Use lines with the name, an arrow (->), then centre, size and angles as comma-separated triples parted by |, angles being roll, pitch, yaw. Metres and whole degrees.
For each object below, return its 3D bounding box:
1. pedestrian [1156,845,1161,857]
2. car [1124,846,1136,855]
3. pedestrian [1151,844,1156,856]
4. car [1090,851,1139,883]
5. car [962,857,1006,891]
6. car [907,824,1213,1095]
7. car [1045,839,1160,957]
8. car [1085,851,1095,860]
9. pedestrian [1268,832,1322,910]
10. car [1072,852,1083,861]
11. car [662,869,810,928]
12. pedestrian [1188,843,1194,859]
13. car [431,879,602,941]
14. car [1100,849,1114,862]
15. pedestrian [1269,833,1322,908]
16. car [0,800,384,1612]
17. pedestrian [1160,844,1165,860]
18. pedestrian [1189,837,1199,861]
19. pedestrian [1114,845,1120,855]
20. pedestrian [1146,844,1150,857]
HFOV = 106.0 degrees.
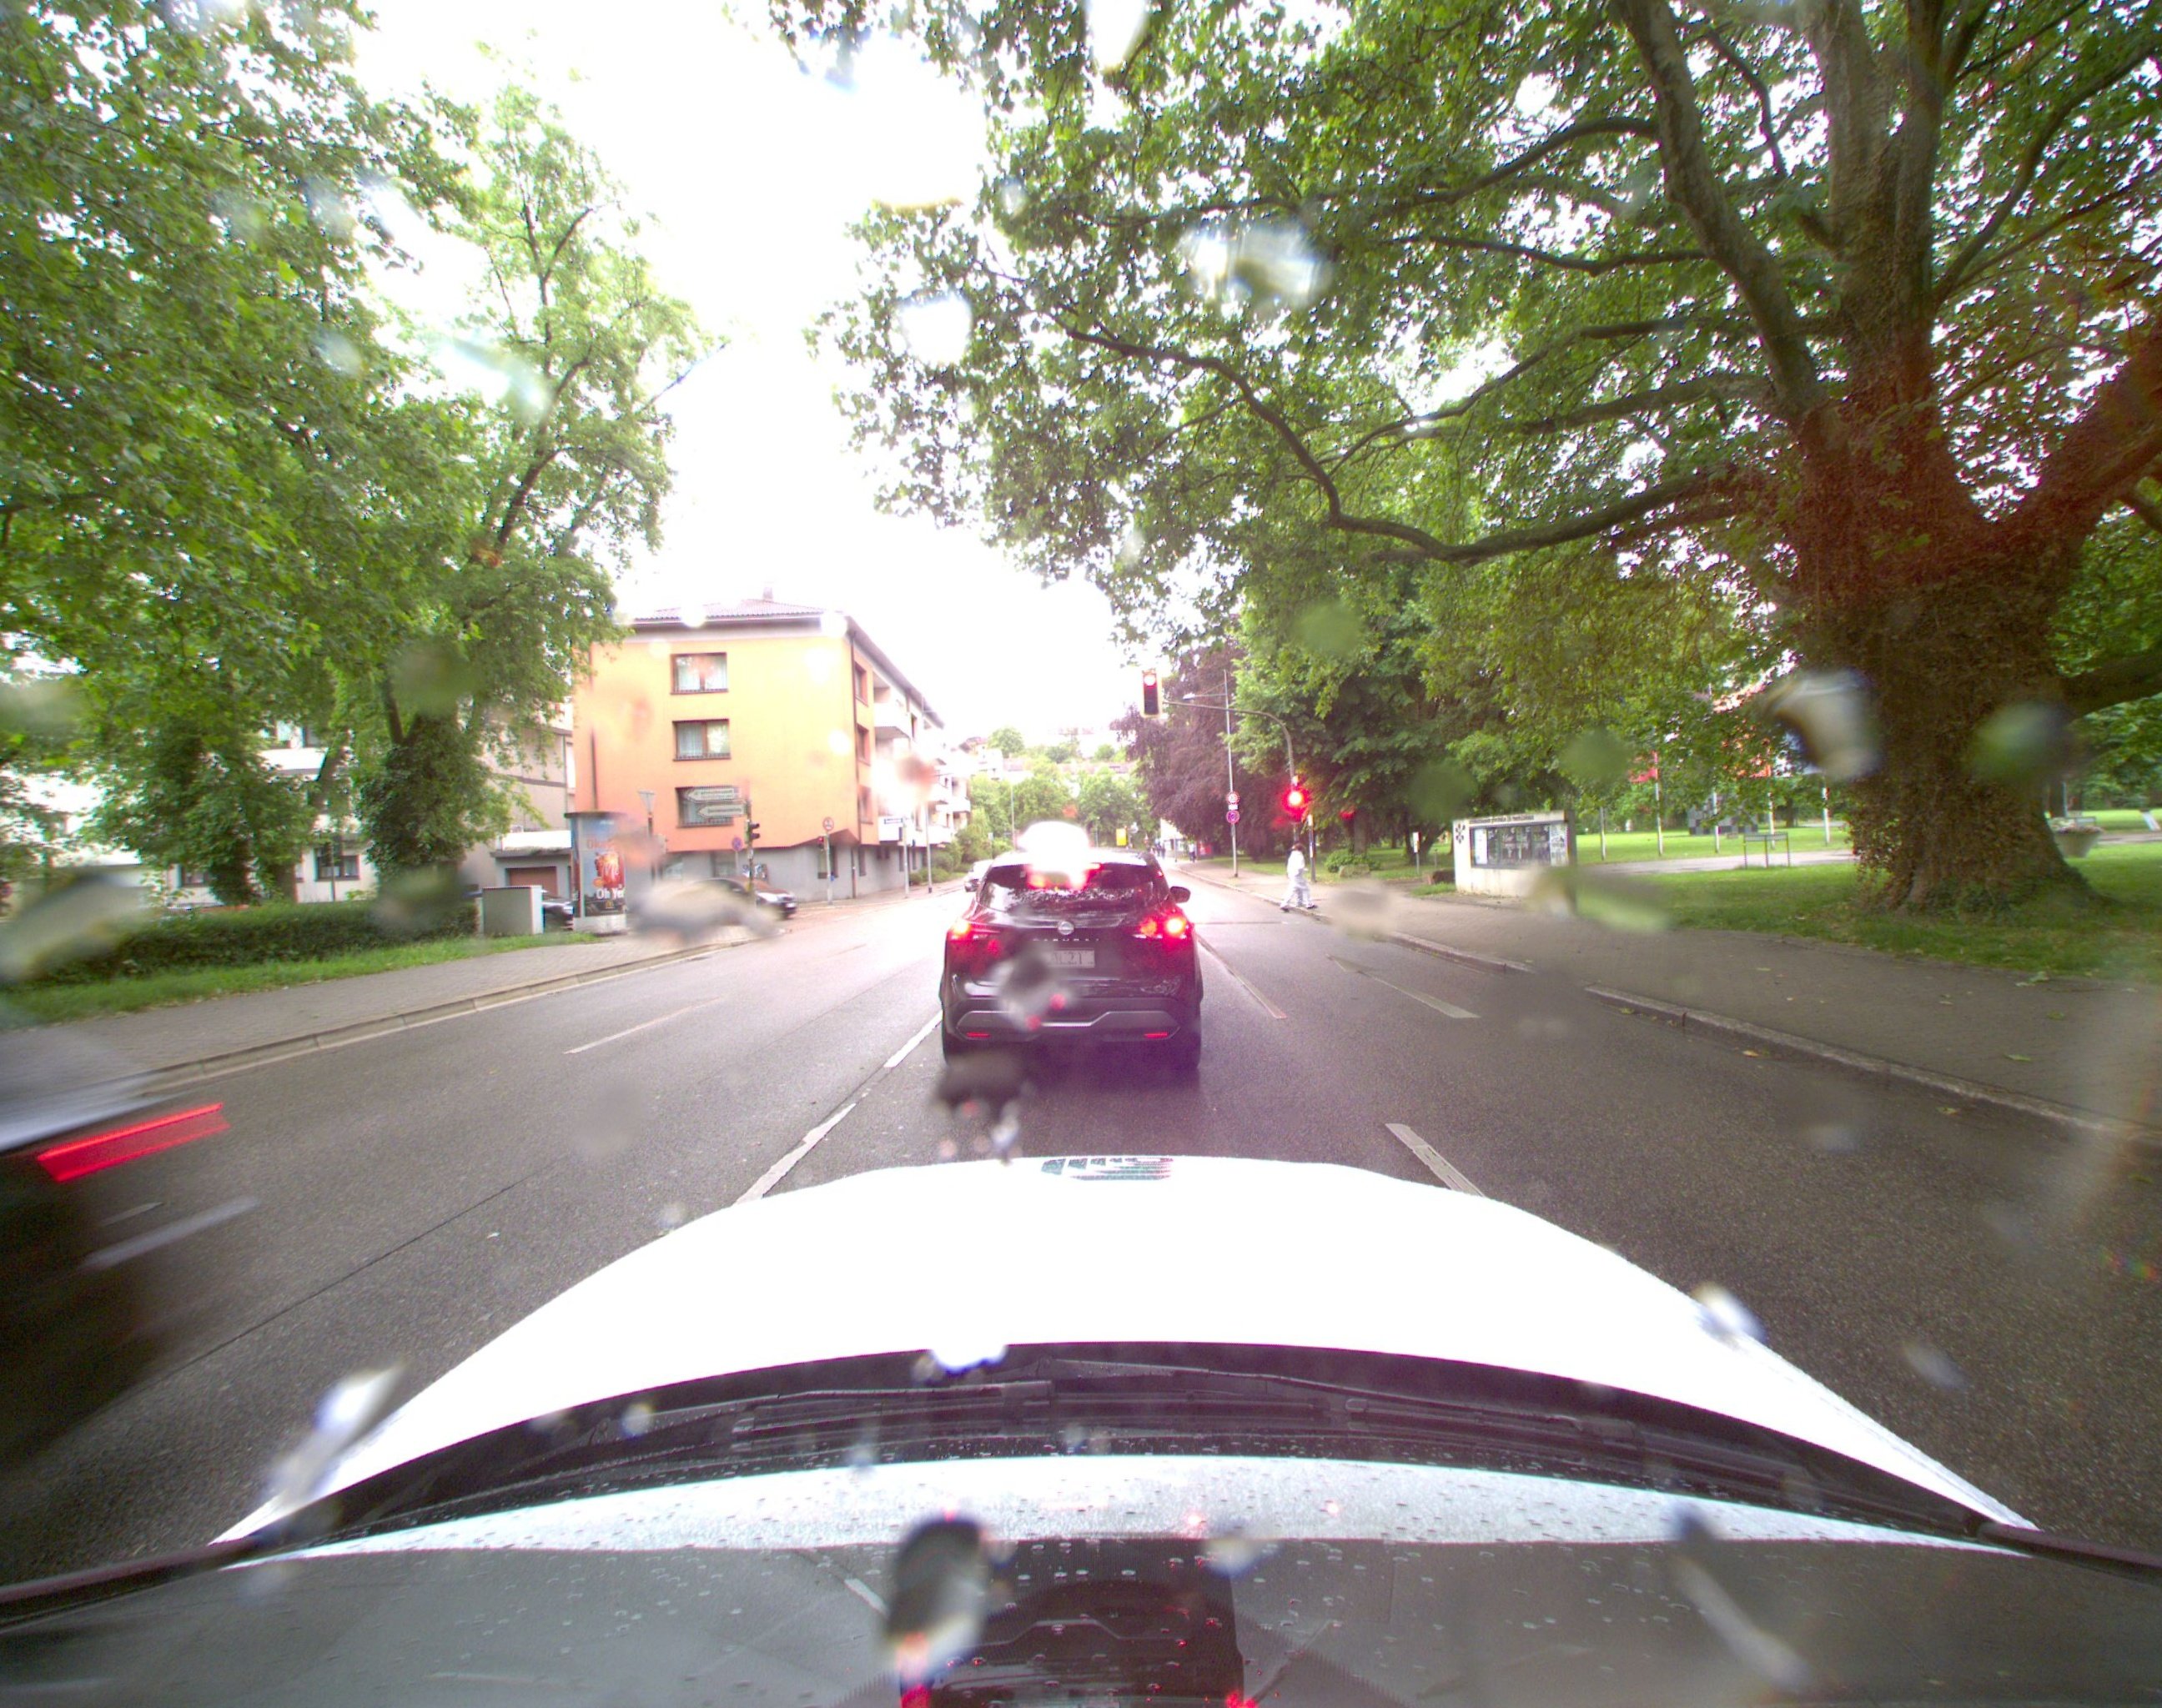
pedestrian -> 11.353, -0.410, 119.479 | 0.507, 1.802, 0.619 | -3, 0, 0
car -> 9.062, -0.643, 149.514 | 1.983, 1.735, 4.007 | 0, 0, 7
pedestrian -> 10.570, -0.552, 118.855 | 0.507, 1.802, 0.659 | -3, 0, -1
car -> 1.770, 0.624, 41.561 | 1.814, 1.403, 4.664 | -4, 0, 10
car -> -4.865, 0.958, 41.175 | 1.791, 1.533, 3.865 | -3, 0, -2
car -> -0.064, 0.663, 7.147 | 1.906, 1.680, 4.002 | -1, 0, 2
car -> 0.386, 0.675, 14.479 | 1.692, 1.745, 3.642 | -3, 0, 2
car -> 1.583, 0.265, 146.841 | 1.628, 1.532, 3.969 | -3, 0, 2
pedestrian -> 5.439, 0.433, 20.724 | 1.035, 1.876, 0.656 | -4, 0, -9
car -> -0.663, 0.412, 154.484 | 1.963, 1.532, 3.969 | -3, 0, 2
car -> -10.889, 1.392, 25.854 | 3.835, 1.533, 1.804 | -4, 0, 6
pedestrian -> 10.034, -0.266, 74.281 | 0.388, 1.502, 0.559 | -3, 0, 2
car -> -18.611, 1.809, 27.022 | 4.290, 1.678, 1.726 | -3, 0, -4
car -> 3.160, 0.177, 98.767 | 1.628, 1.532, 3.969 | -3, 0, 2
pedestrian -> 5.643, 0.436, 21.472 | 1.035, 1.876, 0.656 | -4, 0, -9
car -> -3.142, 0.759, 0.433 | 1.839, 1.625, 4.138 | -3, 0, 1
pedestrian -> 9.188, -0.236, 91.702 | 0.506, 1.802, 0.620 | -3, 0, 1
pedestrian -> 9.620, -0.407, 69.394 | 0.722, 2.013, 0.852 | -3, 0, 2
pedestrian -> 5.978, -0.621, 135.269 | 0.503, 1.673, 0.663 | -3, 0, 29
pedestrian -> 9.844, -0.499, 119.786 | 0.506, 1.802, 0.620 | -3, 0, 1
